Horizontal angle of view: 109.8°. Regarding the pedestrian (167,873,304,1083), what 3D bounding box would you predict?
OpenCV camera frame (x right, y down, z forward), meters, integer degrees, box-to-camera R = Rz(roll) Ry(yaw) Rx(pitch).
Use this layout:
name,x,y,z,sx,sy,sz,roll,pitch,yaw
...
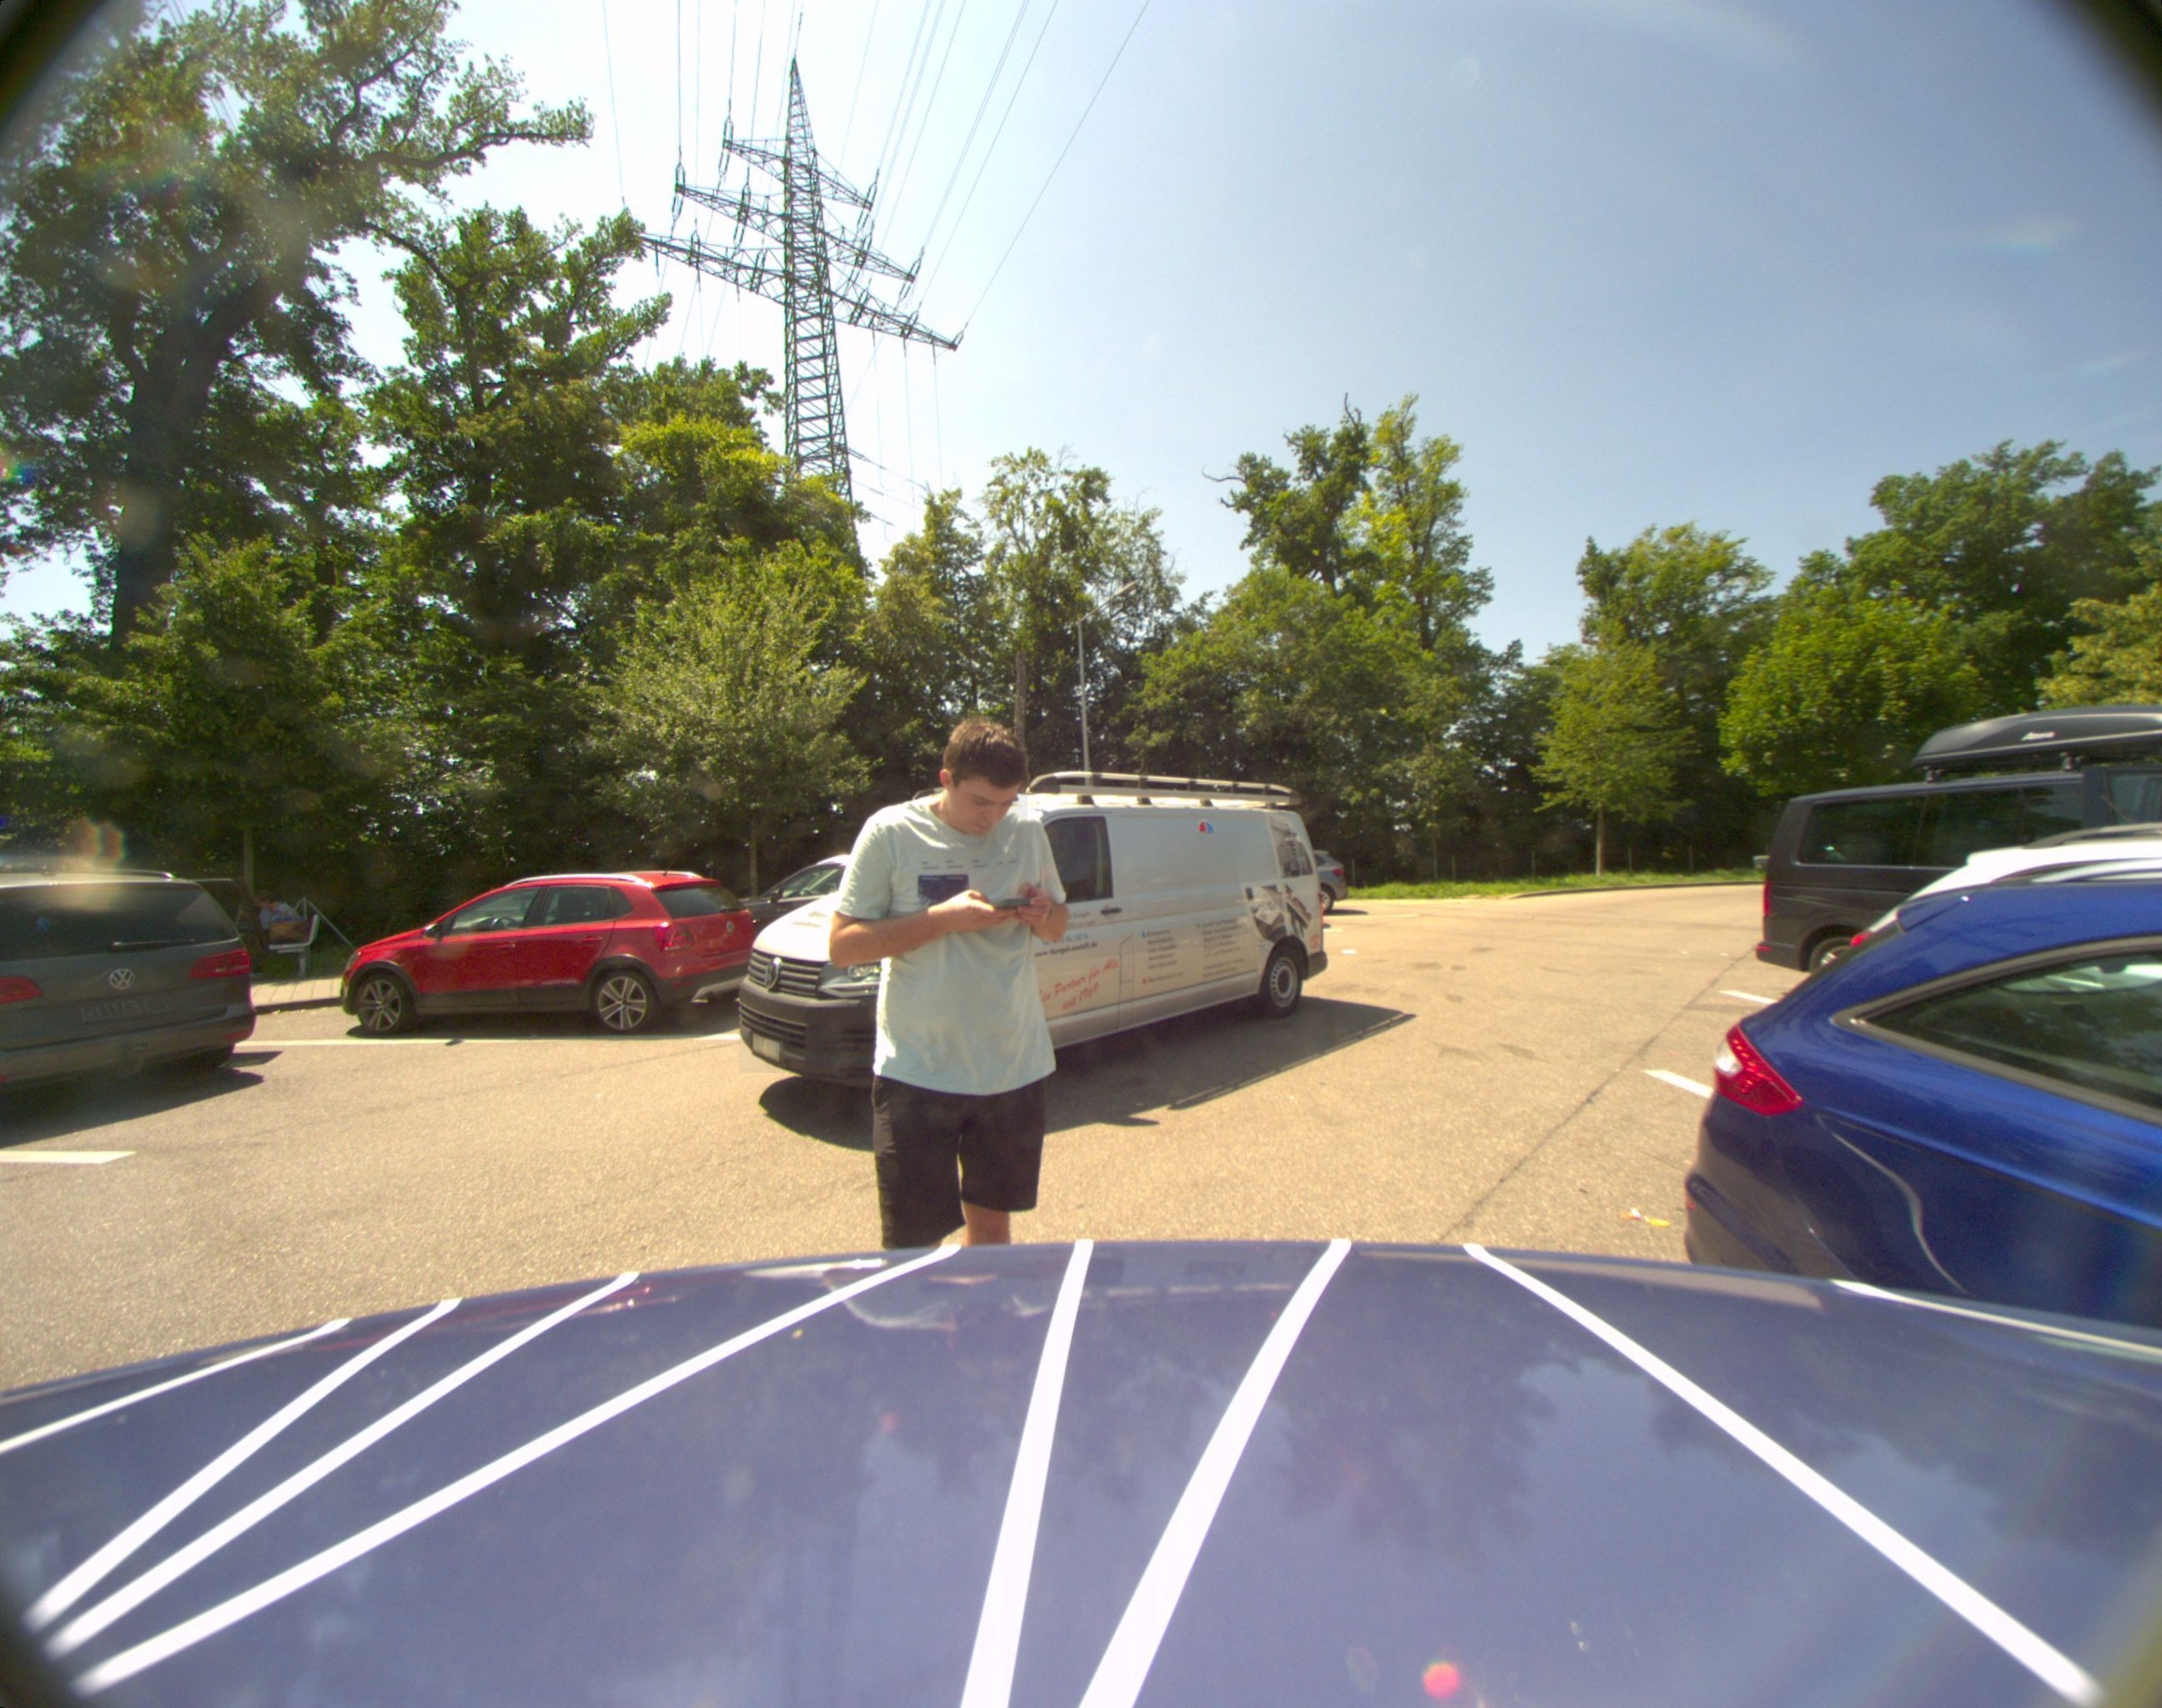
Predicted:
name,x,y,z,sx,sy,sz,roll,pitch,yaw
pedestrian,-7.345,1.039,6.616,0.481,1.712,0.589,-2,1,22

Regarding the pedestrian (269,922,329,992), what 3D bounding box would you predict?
name,x,y,z,sx,sy,sz,roll,pitch,yaw
pedestrian,-10.844,1.416,10.546,0.503,0.874,0.512,-2,0,-39

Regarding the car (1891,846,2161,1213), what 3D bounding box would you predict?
name,x,y,z,sx,sy,sz,roll,pitch,yaw
car,4.707,0.650,2.223,1.344,1.352,3.114,-2,0,1

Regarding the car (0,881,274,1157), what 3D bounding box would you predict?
name,x,y,z,sx,sy,sz,roll,pitch,yaw
car,-8.376,1.092,5.412,3.903,1.607,1.705,-2,1,11

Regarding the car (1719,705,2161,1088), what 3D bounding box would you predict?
name,x,y,z,sx,sy,sz,roll,pitch,yaw
car,7.303,0.242,5.423,1.788,2.304,4.084,-2,0,-5

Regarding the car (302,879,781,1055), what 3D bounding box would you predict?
name,x,y,z,sx,sy,sz,roll,pitch,yaw
car,-5.230,1.066,7.624,3.745,1.458,1.621,-2,0,7

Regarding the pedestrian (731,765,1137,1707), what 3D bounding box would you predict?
name,x,y,z,sx,sy,sz,roll,pitch,yaw
pedestrian,-0.374,0.744,1.870,0.741,1.818,0.613,-2,0,-34

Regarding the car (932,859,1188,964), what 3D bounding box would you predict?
name,x,y,z,sx,sy,sz,roll,pitch,yaw
car,-0.262,0.870,12.194,3.773,1.445,1.848,-2,0,4

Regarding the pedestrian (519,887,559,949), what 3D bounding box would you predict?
name,x,y,z,sx,sy,sz,roll,pitch,yaw
pedestrian,-10.943,1.286,15.339,0.413,1.186,0.443,-2,1,12

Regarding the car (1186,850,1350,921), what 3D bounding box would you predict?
name,x,y,z,sx,sy,sz,roll,pitch,yaw
car,4.351,0.725,18.110,3.585,1.493,1.707,-2,1,8

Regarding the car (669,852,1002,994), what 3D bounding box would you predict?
name,x,y,z,sx,sy,sz,roll,pitch,yaw
car,-3.112,0.860,10.219,3.866,1.607,1.709,-2,0,0

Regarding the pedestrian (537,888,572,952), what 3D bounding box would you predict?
name,x,y,z,sx,sy,sz,roll,pitch,yaw
pedestrian,-10.085,1.260,14.556,0.366,1.186,0.356,-2,1,21

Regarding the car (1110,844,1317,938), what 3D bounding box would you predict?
name,x,y,z,sx,sy,sz,roll,pitch,yaw
car,2.583,0.719,15.388,3.850,1.678,1.755,-2,0,4

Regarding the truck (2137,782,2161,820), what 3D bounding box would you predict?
name,x,y,z,sx,sy,sz,roll,pitch,yaw
truck,40.240,-1.984,27.033,1.168,1.367,2.882,-2,-1,-19

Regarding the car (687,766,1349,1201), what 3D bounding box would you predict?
name,x,y,z,sx,sy,sz,roll,pitch,yaw
car,0.044,0.589,6.217,5.445,2.092,1.839,-2,1,-45
